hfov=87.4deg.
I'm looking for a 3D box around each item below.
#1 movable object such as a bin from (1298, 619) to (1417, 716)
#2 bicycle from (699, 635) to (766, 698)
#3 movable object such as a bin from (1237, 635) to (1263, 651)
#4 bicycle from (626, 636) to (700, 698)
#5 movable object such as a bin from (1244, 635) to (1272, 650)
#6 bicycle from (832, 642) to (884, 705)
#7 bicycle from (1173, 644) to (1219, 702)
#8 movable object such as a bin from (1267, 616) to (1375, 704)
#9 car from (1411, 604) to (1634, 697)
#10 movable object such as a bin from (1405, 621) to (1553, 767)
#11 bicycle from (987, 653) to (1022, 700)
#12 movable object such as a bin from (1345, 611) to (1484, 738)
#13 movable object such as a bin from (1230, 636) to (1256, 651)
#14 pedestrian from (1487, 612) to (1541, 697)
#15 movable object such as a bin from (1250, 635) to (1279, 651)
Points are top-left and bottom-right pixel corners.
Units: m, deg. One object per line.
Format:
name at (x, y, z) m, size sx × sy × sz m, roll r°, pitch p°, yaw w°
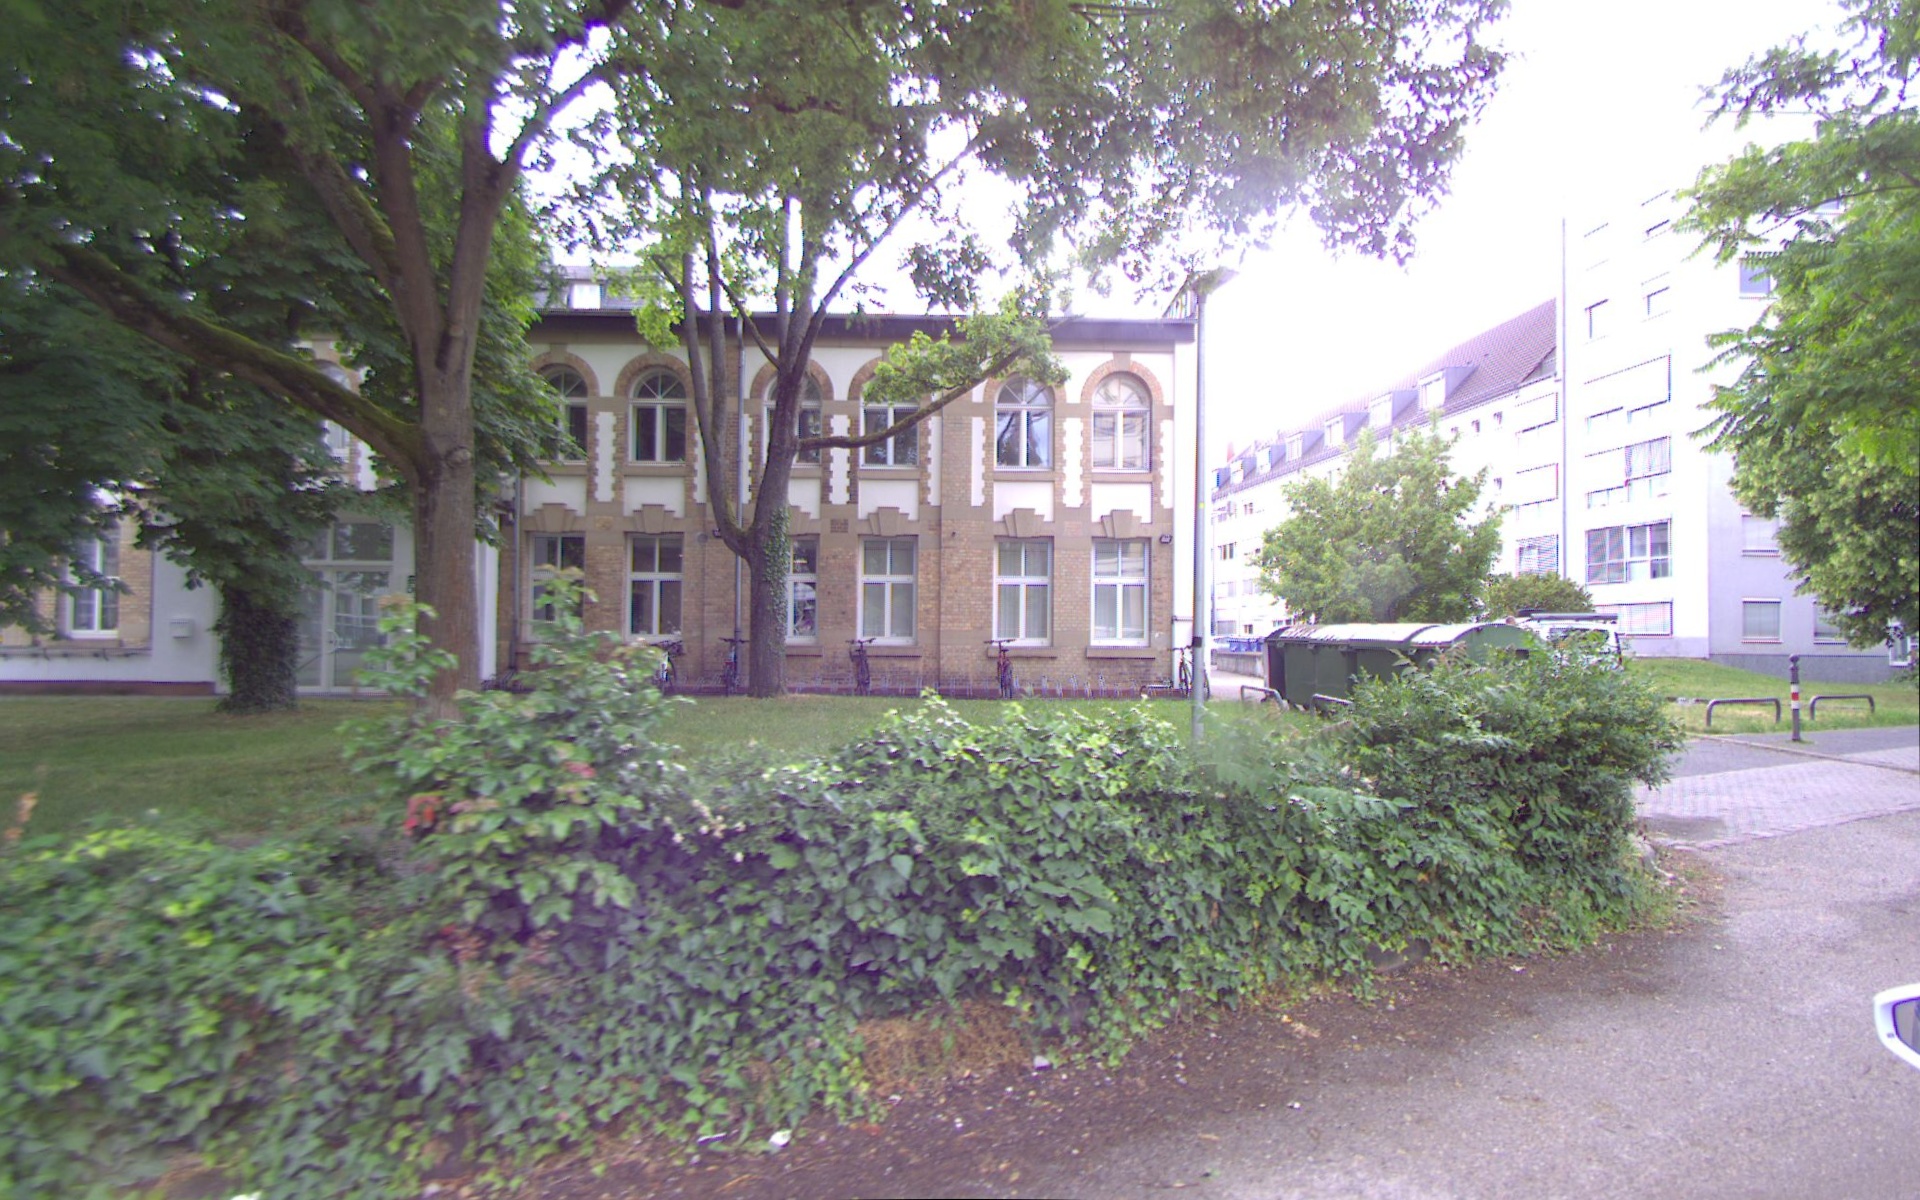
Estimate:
movable object such as a bin at (5.513, 0.917, 14.027) m, size 1.036 × 1.281 × 1.353 m, roll 1°, pitch -1°, yaw -7°
bicycle at (-4.388, 1.256, 19.523) m, size 0.606 × 1.134 × 2.223 m, roll 0°, pitch -2°, yaw 5°
movable object such as a bin at (13.028, 1.916, 45.082) m, size 0.949 × 0.688 × 0.811 m, roll 1°, pitch -3°, yaw 0°
bicycle at (-5.779, 1.282, 19.705) m, size 0.606 × 1.134 × 2.223 m, roll 0°, pitch -2°, yaw 5°
movable object such as a bin at (13.085, 1.879, 44.095) m, size 0.949 × 0.645 × 0.911 m, roll 1°, pitch -3°, yaw 0°
bicycle at (-1.967, 1.402, 19.652) m, size 0.606 × 1.134 × 2.223 m, roll 0°, pitch -2°, yaw 5°
bicycle at (4.670, 1.425, 19.935) m, size 0.388 × 1.079 × 1.828 m, roll 1°, pitch -2°, yaw -3°
movable object such as a bin at (5.519, 0.898, 15.451) m, size 1.037 × 1.281 × 1.352 m, roll 1°, pitch -1°, yaw -10°
car at (13.080, 1.197, 23.521) m, size 4.269 × 2.040 × 1.853 m, roll 1°, pitch -3°, yaw -6°
movable object such as a bin at (5.646, 0.978, 11.034) m, size 1.034 × 1.469 × 1.355 m, roll 0°, pitch 0°, yaw 7°
bicycle at (0.893, 1.481, 19.748) m, size 0.606 × 0.824 × 1.946 m, roll 0°, pitch -2°, yaw 5°
movable object such as a bin at (5.607, 0.905, 12.483) m, size 1.036 × 1.475 × 1.353 m, roll 1°, pitch -2°, yaw -7°
movable object such as a bin at (12.968, 1.999, 46.016) m, size 0.949 × 0.688 × 0.871 m, roll 1°, pitch -3°, yaw 0°
pedestrian at (12.129, 1.202, 22.017) m, size 0.742 × 1.832 × 0.698 m, roll 0°, pitch -3°, yaw -5°
movable object such as a bin at (13.025, 1.841, 43.011) m, size 0.949 × 0.645 × 0.911 m, roll 1°, pitch -3°, yaw 0°
